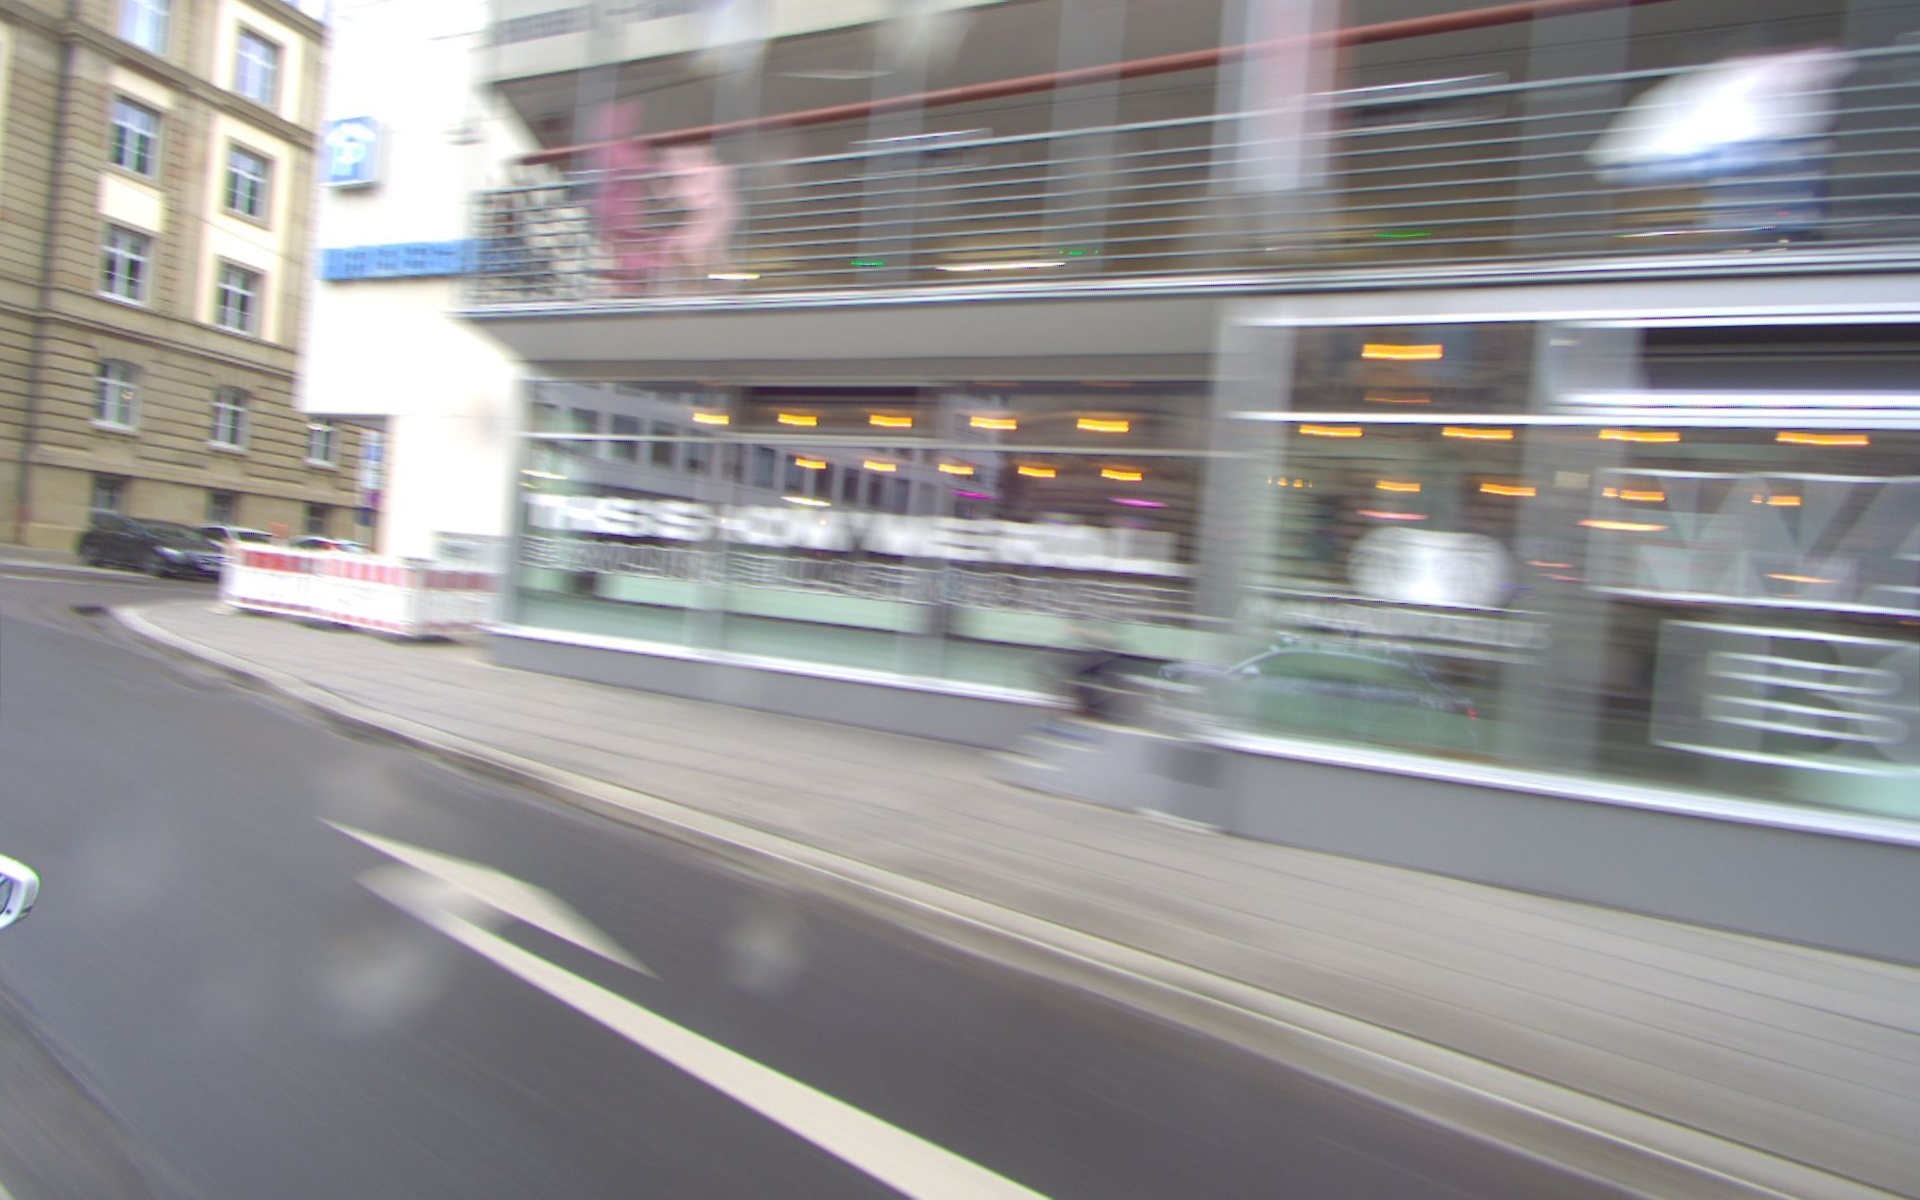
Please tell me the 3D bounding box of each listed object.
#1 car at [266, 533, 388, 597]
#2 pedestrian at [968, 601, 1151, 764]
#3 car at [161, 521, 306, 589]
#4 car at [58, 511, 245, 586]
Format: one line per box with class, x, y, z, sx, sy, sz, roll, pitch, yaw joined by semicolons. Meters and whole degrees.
car;-19.788;-1.109;31.429;3.515;1.535;1.684;7;0;30
pedestrian;0.837;0.660;8.374;1.224;1.137;0.755;7;0;24
car;-21.178;-1.330;29.280;4.257;1.473;1.737;7;-1;30
car;-21.391;-1.376;26.593;4.912;1.384;1.739;7;-1;24
